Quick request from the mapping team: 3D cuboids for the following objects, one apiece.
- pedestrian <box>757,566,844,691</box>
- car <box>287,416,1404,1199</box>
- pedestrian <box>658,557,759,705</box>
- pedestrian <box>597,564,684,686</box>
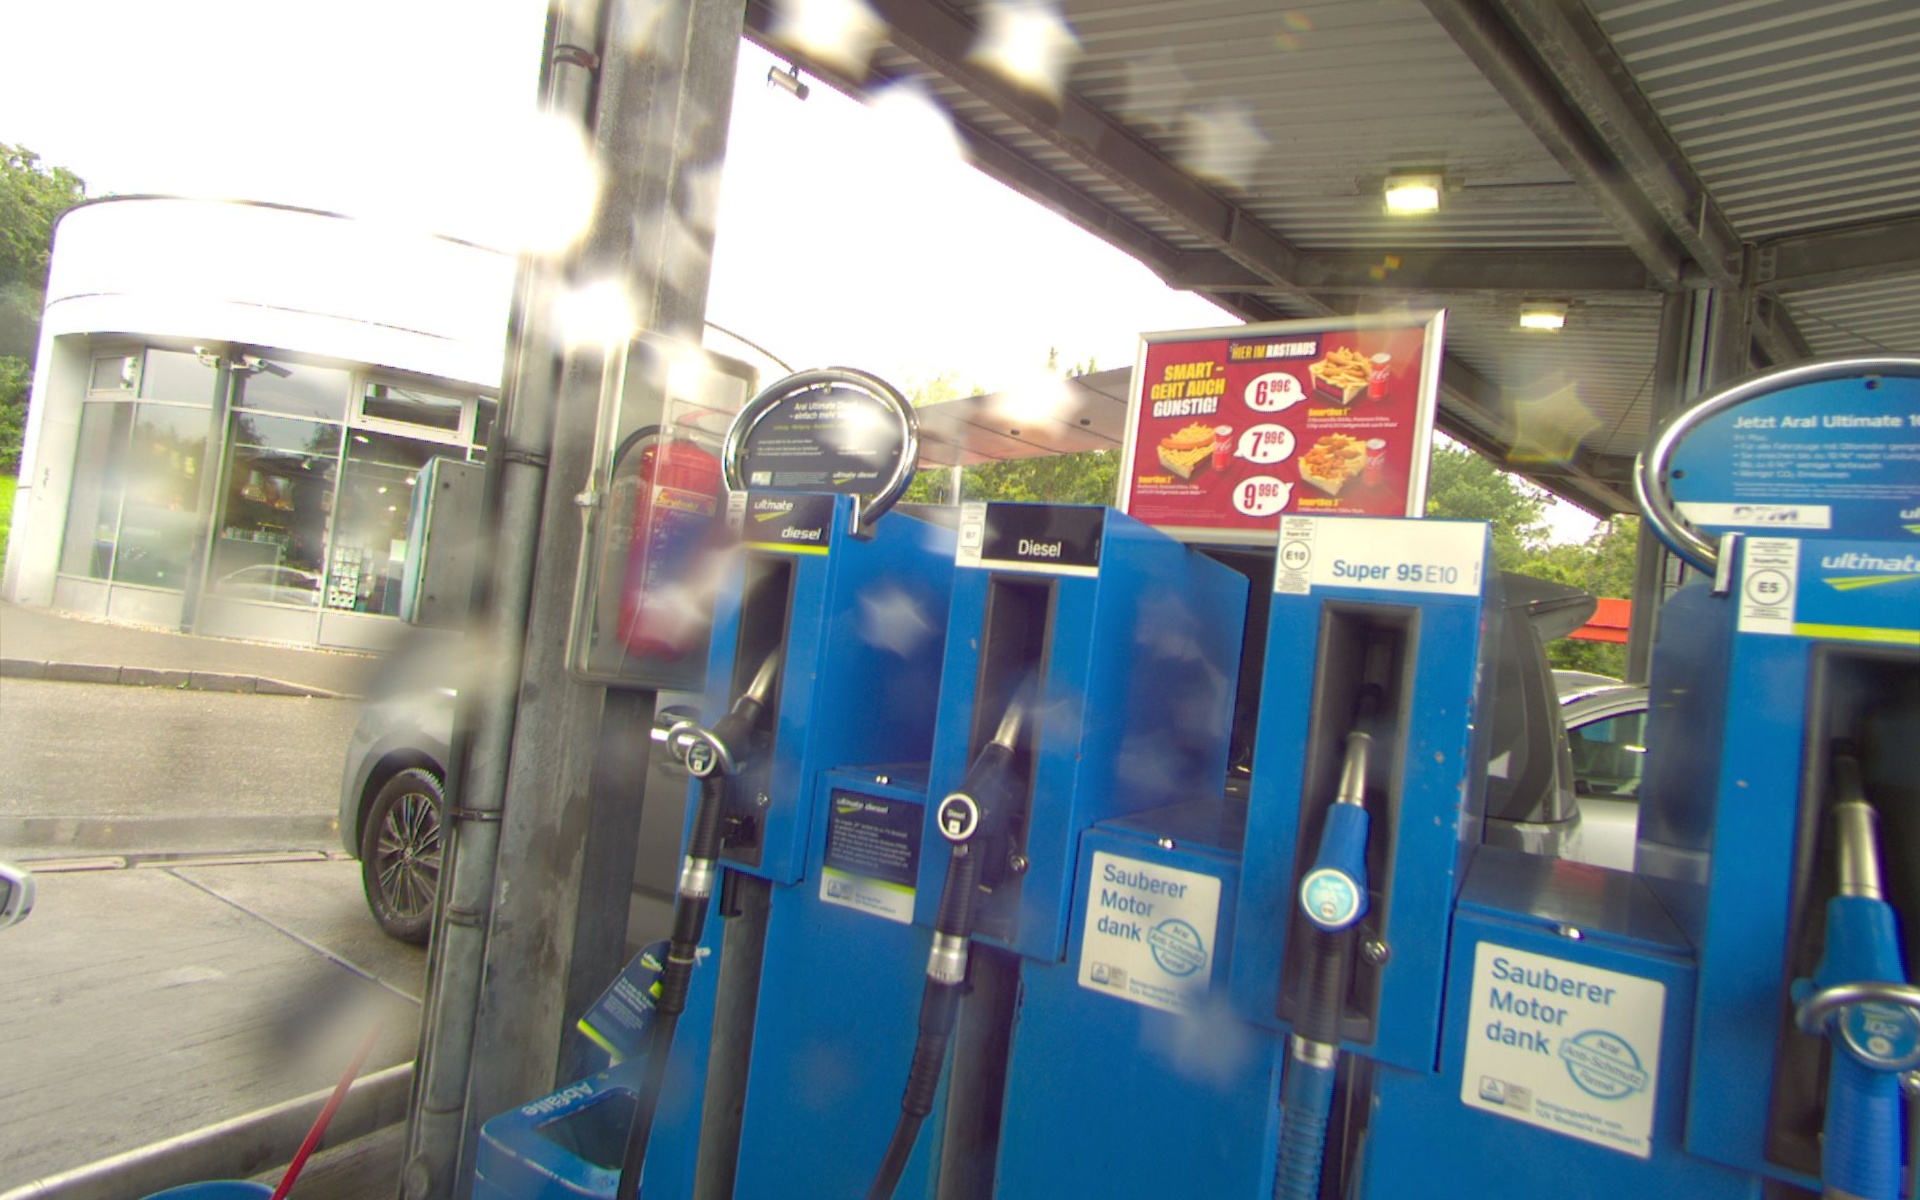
[{"bbox_3d":[-2.606,0.464,16.405,0.990,1.887,0.793,7,0,-30],"label":"pedestrian"},{"bbox_3d":[-0.597,0.486,3.992,3.934,1.971,1.819,7,-1,32],"label":"car"},{"bbox_3d":[-3.431,0.410,13.698,0.965,1.871,0.767,7,0,-30],"label":"pedestrian"},{"bbox_3d":[-4.447,0.347,13.987,0.882,1.569,0.655,7,0,-29],"label":"pedestrian"}]
